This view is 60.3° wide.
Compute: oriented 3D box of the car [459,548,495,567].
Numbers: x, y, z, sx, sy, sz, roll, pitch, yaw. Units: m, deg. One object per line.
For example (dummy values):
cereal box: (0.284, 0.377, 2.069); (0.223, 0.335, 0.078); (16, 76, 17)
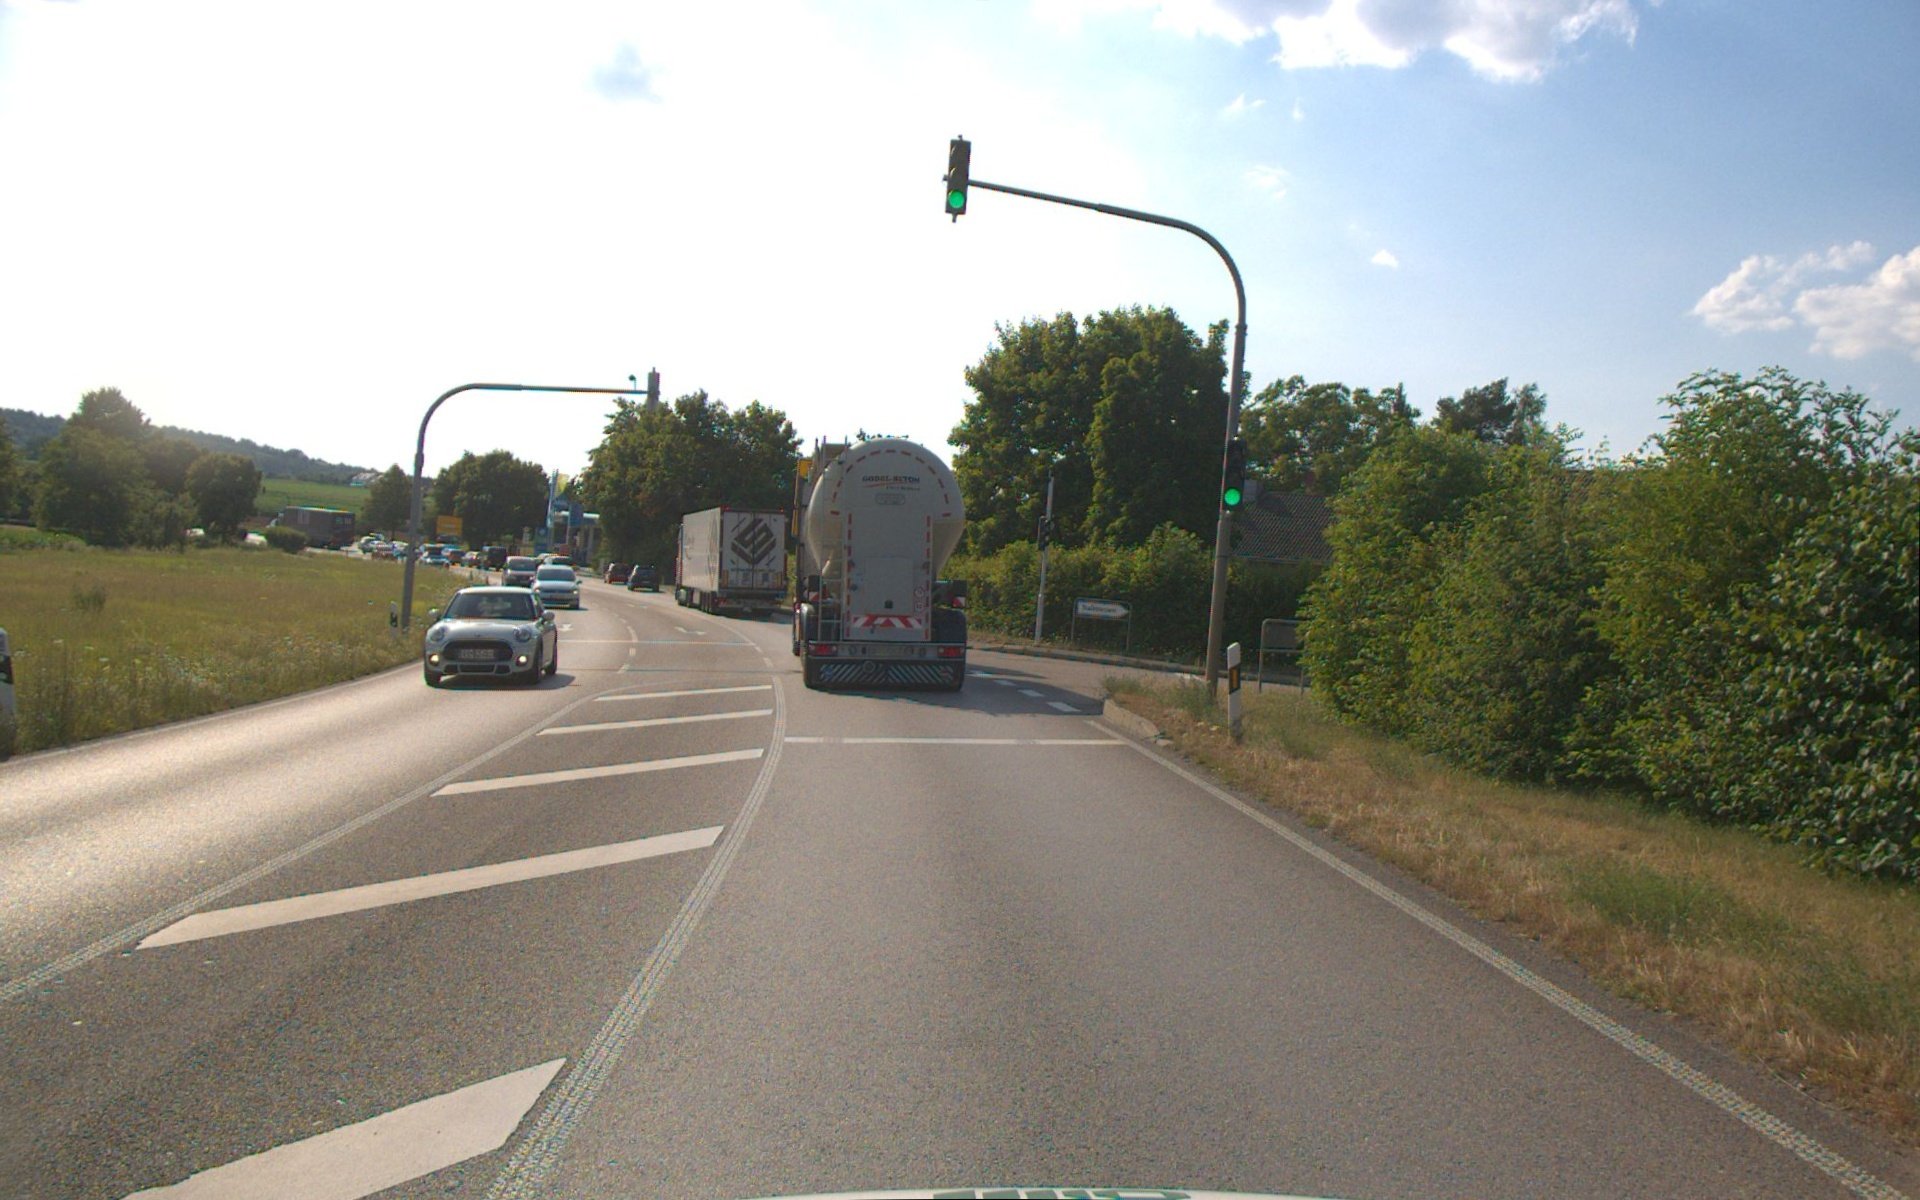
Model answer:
car: (-43.144, -3.792, 147.681); (2.064, 1.627, 3.959); (2, 0, -31)

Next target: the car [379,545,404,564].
car: (-50.794, -4.071, 147.723); (1.856, 1.627, 3.972); (2, 0, -23)

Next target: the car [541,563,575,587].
car: (-29.314, -1.857, 120.576); (1.855, 1.627, 3.976); (2, 0, -21)

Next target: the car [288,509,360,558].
car: (-71.093, -7.439, 184.692); (3.518, 5.147, 13.056); (2, 0, -39)

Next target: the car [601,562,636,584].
car: (-24.453, -1.913, 118.364); (1.660, 1.493, 3.973); (3, -1, -22)

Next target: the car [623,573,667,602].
car: (-19.581, -0.759, 102.699); (1.965, 1.685, 3.975); (3, -1, -21)

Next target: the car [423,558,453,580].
car: (-40.945, -2.464, 129.753); (1.856, 1.627, 3.972); (2, 0, -23)

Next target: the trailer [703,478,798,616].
trailer: (-8.525, -1.886, 66.165); (2.911, 4.967, 10.259); (2, -1, -11)

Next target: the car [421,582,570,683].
car: (-7.157, 0.468, 25.800); (1.687, 1.461, 3.743); (0, 0, -7)

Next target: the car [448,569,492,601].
car: (-26.732, -0.841, 90.095); (1.856, 1.627, 3.973); (2, 0, -23)

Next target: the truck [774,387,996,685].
truck: (-1.735, -0.860, 30.097); (2.920, 4.248, 11.642); (2, -1, -7)

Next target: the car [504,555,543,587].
car: (-23.984, -1.572, 90.852); (1.852, 1.627, 3.980); (2, 0, -18)

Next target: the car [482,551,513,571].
car: (-39.403, -3.328, 140.873); (1.859, 1.627, 3.966); (2, 0, -27)

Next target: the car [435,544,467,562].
car: (-47.324, -4.382, 153.711); (1.864, 1.627, 3.956); (2, 0, -32)

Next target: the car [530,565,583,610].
car: (-15.947, -0.507, 65.331); (1.851, 1.627, 3.983); (2, 0, -16)

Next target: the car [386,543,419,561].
car: (-55.863, -4.799, 165.660); (1.869, 1.627, 3.945); (2, 0, -38)
